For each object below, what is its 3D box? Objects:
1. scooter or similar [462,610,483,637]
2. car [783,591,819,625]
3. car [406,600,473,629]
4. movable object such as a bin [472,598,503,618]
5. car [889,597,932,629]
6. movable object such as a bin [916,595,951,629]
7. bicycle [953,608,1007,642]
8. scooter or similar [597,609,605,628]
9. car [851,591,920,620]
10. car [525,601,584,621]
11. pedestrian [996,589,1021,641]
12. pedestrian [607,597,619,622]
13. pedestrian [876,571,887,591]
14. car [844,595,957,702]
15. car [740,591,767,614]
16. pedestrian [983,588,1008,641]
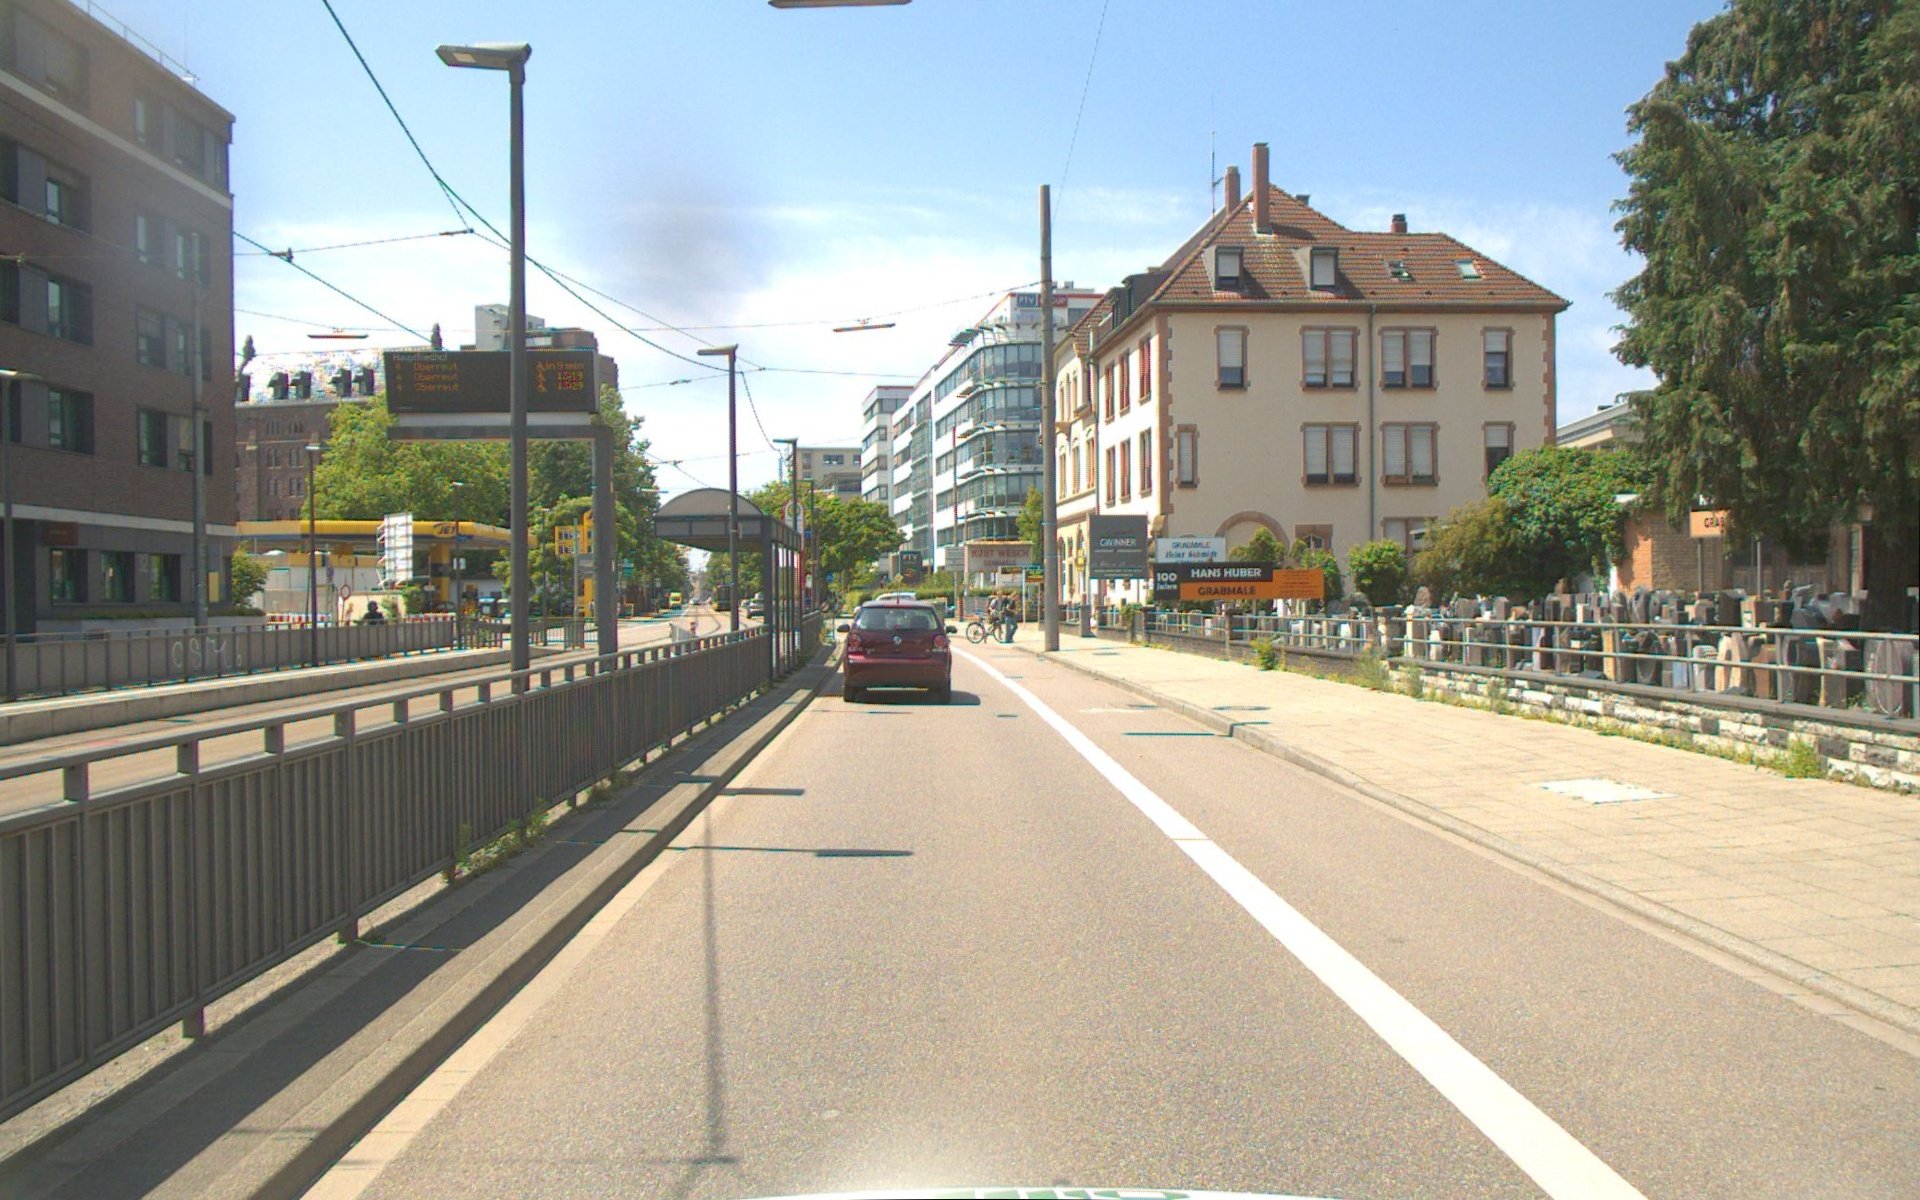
[{"bbox_3d":[-23.112,1.116,78.394,0.337,1.286,1.243,0,0,15],"label":"scooter or similar"},{"bbox_3d":[-9.944,0.471,103.078,1.957,2.049,3.991,0,0,-10],"label":"car"},{"bbox_3d":[-30.229,0.826,96.195,1.787,1.531,4.203,1,2,14],"label":"car"},{"bbox_3d":[-36.494,0.603,127.752,1.488,1.536,2.101,0,0,15],"label":"movable object such as a bin"},{"bbox_3d":[-2.707,0.704,88.990,1.740,1.575,4.458,-3,0,-9],"label":"car"},{"bbox_3d":[-1.244,0.568,77.444,1.368,1.480,1.136,-3,0,-13],"label":"movable object such as a bin"},{"bbox_3d":[0.704,0.877,57.405,1.765,1.147,0.590,-1,0,24],"label":"bicycle"},{"bbox_3d":[-22.332,1.149,102.926,0.509,1.221,1.372,0,0,-12],"label":"scooter or similar"},{"bbox_3d":[-4.978,0.344,110.574,4.454,1.831,1.996,-1,0,-9],"label":"car"},{"bbox_3d":[-31.483,0.842,128.407,1.893,1.514,4.442,0,0,30],"label":"car"},{"bbox_3d":[1.644,0.500,56.129,0.806,1.720,0.589,-1,0,6],"label":"pedestrian"},{"bbox_3d":[-24.440,0.663,116.554,0.618,1.720,0.715,-1,0,-31],"label":"pedestrian"},{"bbox_3d":[-7.219,-1.735,151.603,0.856,1.745,1.089,-3,0,0],"label":"pedestrian"},{"bbox_3d":[-0.893,0.686,25.410,1.586,1.512,3.999,0,0,-1],"label":"car"},{"bbox_3d":[-16.605,0.192,132.822,1.957,1.769,3.992,-1,0,-9],"label":"car"},{"bbox_3d":[1.242,0.501,57.616,0.674,1.803,0.503,-1,0,27],"label":"pedestrian"}]
